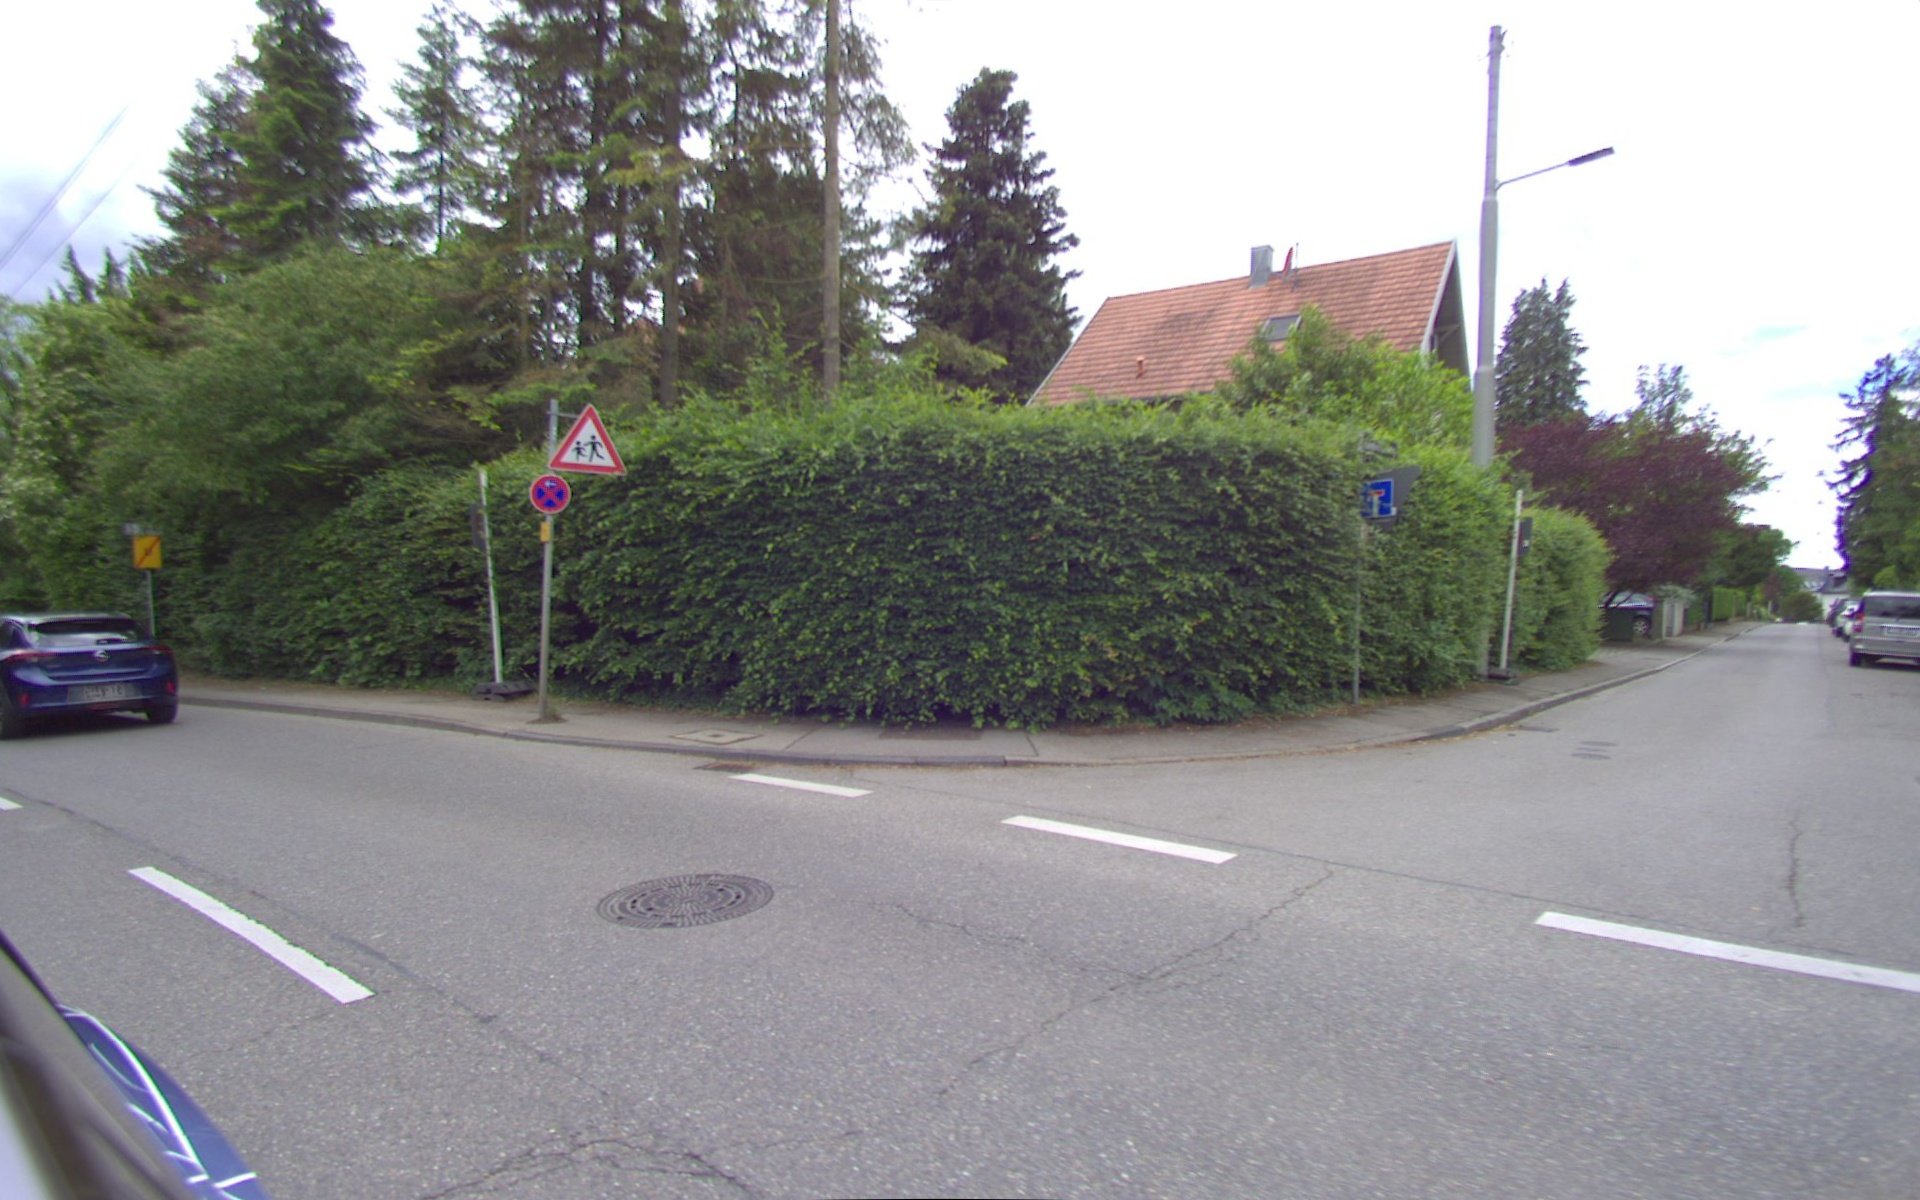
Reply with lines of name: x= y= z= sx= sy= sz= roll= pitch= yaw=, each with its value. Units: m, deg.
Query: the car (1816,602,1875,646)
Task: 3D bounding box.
car: x=42.936 y=1.159 z=49.048 sx=2.000 sy=2.029 sz=3.943 roll=-2 pitch=-1 yaw=43

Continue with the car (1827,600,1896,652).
car: x=36.998 y=1.044 z=41.522 sx=2.000 sy=2.029 sz=3.943 roll=-2 pitch=-1 yaw=43

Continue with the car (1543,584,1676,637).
car: x=24.758 y=0.431 z=38.642 sx=3.998 sy=1.907 sz=1.973 roll=-1 pitch=-1 yaw=41

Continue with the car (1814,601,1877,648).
car: x=39.834 y=1.071 z=45.521 sx=2.000 sy=2.029 sz=3.943 roll=-2 pitch=-1 yaw=43

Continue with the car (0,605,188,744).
car: x=-11.647 y=0.851 z=12.890 sx=4.084 sy=1.449 sz=1.742 roll=-1 pitch=1 yaw=36

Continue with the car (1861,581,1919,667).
car: x=24.062 y=0.587 z=25.452 sx=2.000 sy=2.029 sz=3.943 roll=-2 pitch=-1 yaw=43

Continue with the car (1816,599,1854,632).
car: x=54.774 y=0.953 z=63.337 sx=1.669 sy=2.029 sz=3.844 roll=-2 pitch=-1 yaw=43
